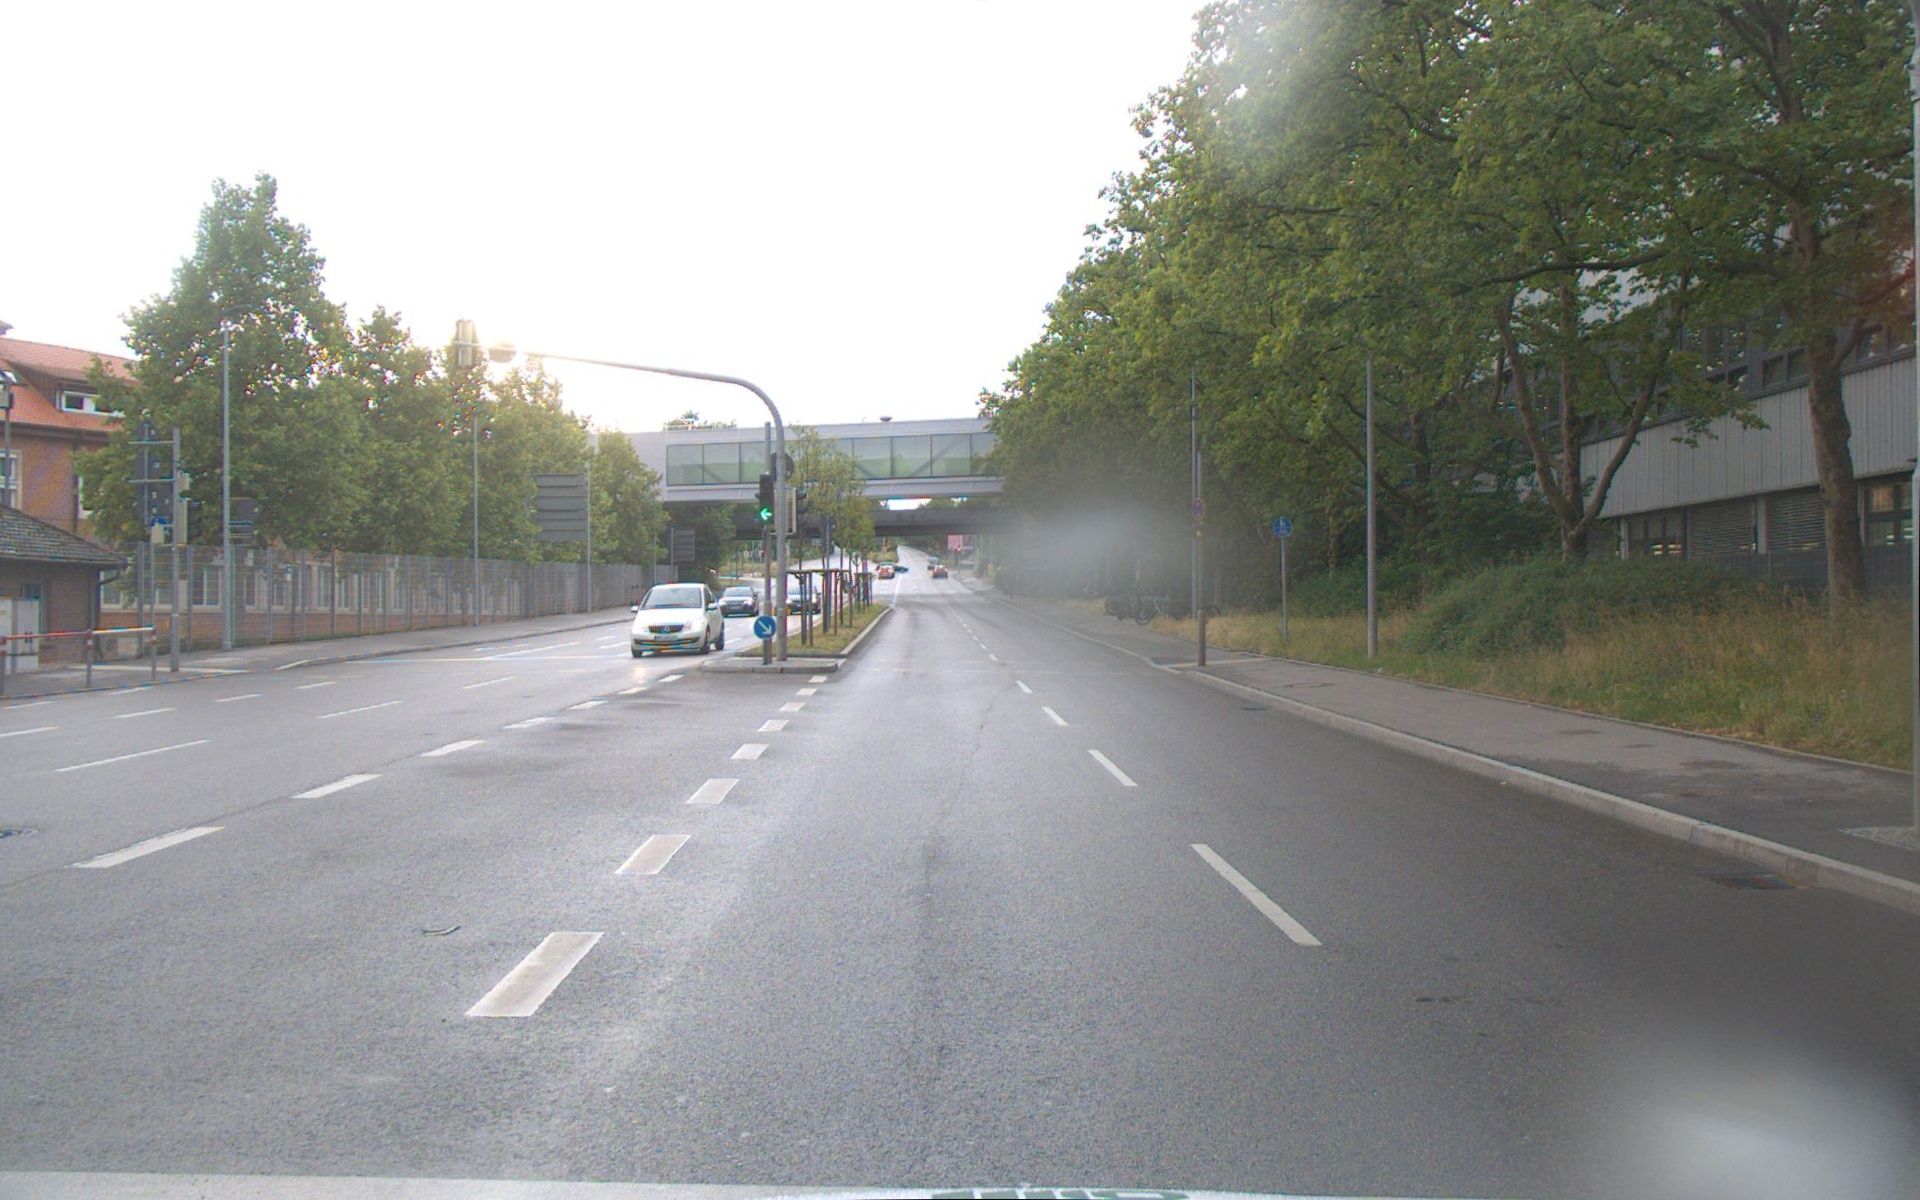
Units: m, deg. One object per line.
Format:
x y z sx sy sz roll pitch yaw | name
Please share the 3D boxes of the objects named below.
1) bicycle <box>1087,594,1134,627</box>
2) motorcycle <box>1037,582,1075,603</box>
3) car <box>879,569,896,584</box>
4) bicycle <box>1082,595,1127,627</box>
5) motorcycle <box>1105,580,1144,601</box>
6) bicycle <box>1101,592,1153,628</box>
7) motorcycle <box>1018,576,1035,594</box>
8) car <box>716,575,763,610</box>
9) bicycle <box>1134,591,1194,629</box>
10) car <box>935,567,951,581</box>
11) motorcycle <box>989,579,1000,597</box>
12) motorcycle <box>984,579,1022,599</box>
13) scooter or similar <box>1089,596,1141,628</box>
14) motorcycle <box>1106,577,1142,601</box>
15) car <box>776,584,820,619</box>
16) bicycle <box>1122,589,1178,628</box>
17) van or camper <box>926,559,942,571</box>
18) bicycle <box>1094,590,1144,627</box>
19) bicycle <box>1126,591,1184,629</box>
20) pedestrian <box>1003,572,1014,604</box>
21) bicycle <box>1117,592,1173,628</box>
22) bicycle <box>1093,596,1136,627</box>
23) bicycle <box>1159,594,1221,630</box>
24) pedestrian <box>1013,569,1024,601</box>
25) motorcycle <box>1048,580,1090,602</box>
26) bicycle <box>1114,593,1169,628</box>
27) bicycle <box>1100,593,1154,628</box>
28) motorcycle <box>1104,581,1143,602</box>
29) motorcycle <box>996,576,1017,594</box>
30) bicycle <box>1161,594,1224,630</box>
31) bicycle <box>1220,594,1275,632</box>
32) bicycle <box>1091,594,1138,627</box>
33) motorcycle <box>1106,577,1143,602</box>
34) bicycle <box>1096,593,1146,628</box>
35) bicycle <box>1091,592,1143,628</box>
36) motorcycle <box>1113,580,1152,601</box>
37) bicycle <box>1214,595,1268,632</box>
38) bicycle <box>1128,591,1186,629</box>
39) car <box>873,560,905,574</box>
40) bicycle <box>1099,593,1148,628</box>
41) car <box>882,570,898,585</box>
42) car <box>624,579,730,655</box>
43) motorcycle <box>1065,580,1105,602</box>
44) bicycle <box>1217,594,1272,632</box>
6.475 0.460 71.134 1.923 1.352 0.654 2 -1 0 | bicycle
5.904 -0.483 101.622 2.318 1.223 0.723 -1 0 7 | motorcycle
-9.011 -2.932 206.598 1.953 1.792 3.999 2 -1 -1 | car
6.511 0.503 74.454 1.923 1.352 0.654 2 -1 0 | bicycle
10.087 -0.582 101.395 2.318 1.223 0.723 -1 0 7 | motorcycle
6.588 0.399 65.158 1.949 1.352 0.576 2 -1 0 | bicycle
4.905 -1.098 121.694 0.775 1.334 2.371 -1 0 -9 | motorcycle
-10.717 -0.368 80.585 1.839 1.653 3.778 -1 0 -1 | car
6.898 0.336 55.976 1.949 1.237 0.541 2 -1 0 | bicycle
-2.110 -3.173 202.991 1.837 1.523 4.067 2 -1 -1 | car
3.003 -1.030 144.687 0.774 1.560 2.375 -1 0 -2 | motorcycle
2.716 -0.702 104.605 2.318 1.223 0.723 -1 0 7 | motorcycle
6.005 0.472 64.141 1.949 1.157 0.541 2 -1 0 | scooter or similar
10.766 -0.706 108.434 2.318 1.502 0.723 -1 0 7 | motorcycle
-7.977 0.043 81.666 1.839 1.653 3.778 -1 0 -1 | car
6.914 0.311 60.244 1.949 1.364 0.541 2 -1 0 | bicycle
-3.958 -5.341 254.635 1.759 1.845 3.770 1 1 11 | van or camper
6.501 0.364 67.643 1.949 1.455 0.723 2 -1 0 | bicycle
6.935 0.362 58.891 1.949 1.263 0.541 2 -1 0 | bicycle
3.138 -0.759 107.527 0.609 2.049 0.605 -1 0 -1 | pedestrian
6.809 0.384 60.933 1.949 1.263 0.541 2 -1 0 | bicycle
7.093 0.541 75.966 1.923 1.352 0.654 2 -1 0 | bicycle
7.587 0.402 54.527 1.949 1.114 0.541 2 -1 0 | bicycle
3.814 -0.962 107.538 0.609 2.049 0.605 -1 0 -1 | pedestrian
6.261 -0.521 94.977 2.318 1.223 0.723 -1 0 7 | motorcycle
6.791 0.396 61.882 1.949 1.263 0.541 2 -1 0 | bicycle
6.380 0.400 63.249 1.949 1.263 0.541 2 -1 0 | bicycle
9.940 -0.511 100.320 2.318 1.223 0.723 -1 0 7 | motorcycle
3.501 -1.140 125.421 0.778 1.334 2.364 -1 0 -19 | motorcycle
7.594 0.395 53.959 1.949 1.114 0.541 2 -1 0 | bicycle
10.796 0.494 62.091 1.949 1.352 0.576 2 -1 0 | bicycle
6.570 0.454 70.446 1.920 1.352 0.576 2 -1 0 | bicycle
10.680 -0.679 107.198 2.318 1.502 0.723 -1 0 7 | motorcycle
6.500 0.419 66.909 1.949 1.352 0.576 2 -1 0 | bicycle
6.259 0.399 65.962 1.949 1.352 0.576 2 -1 0 | bicycle
10.326 -0.555 99.051 2.318 1.223 0.723 -1 0 7 | motorcycle
10.791 0.512 63.502 1.949 1.352 0.576 2 -1 0 | bicycle
6.930 0.357 58.166 1.949 1.255 0.541 2 -1 0 | bicycle
-10.064 -4.646 235.977 4.418 1.792 1.905 2 -1 1 | car
6.783 0.436 68.501 1.949 1.352 0.576 2 -1 0 | bicycle
-9.004 -2.838 212.049 1.846 1.792 3.968 2 -1 -1 | car
-6.527 0.364 38.491 1.839 1.653 3.778 -1 0 -1 | car
7.331 -0.503 96.925 2.318 1.223 0.723 -1 0 7 | motorcycle
10.787 0.502 62.756 1.949 1.352 0.576 2 -1 0 | bicycle
